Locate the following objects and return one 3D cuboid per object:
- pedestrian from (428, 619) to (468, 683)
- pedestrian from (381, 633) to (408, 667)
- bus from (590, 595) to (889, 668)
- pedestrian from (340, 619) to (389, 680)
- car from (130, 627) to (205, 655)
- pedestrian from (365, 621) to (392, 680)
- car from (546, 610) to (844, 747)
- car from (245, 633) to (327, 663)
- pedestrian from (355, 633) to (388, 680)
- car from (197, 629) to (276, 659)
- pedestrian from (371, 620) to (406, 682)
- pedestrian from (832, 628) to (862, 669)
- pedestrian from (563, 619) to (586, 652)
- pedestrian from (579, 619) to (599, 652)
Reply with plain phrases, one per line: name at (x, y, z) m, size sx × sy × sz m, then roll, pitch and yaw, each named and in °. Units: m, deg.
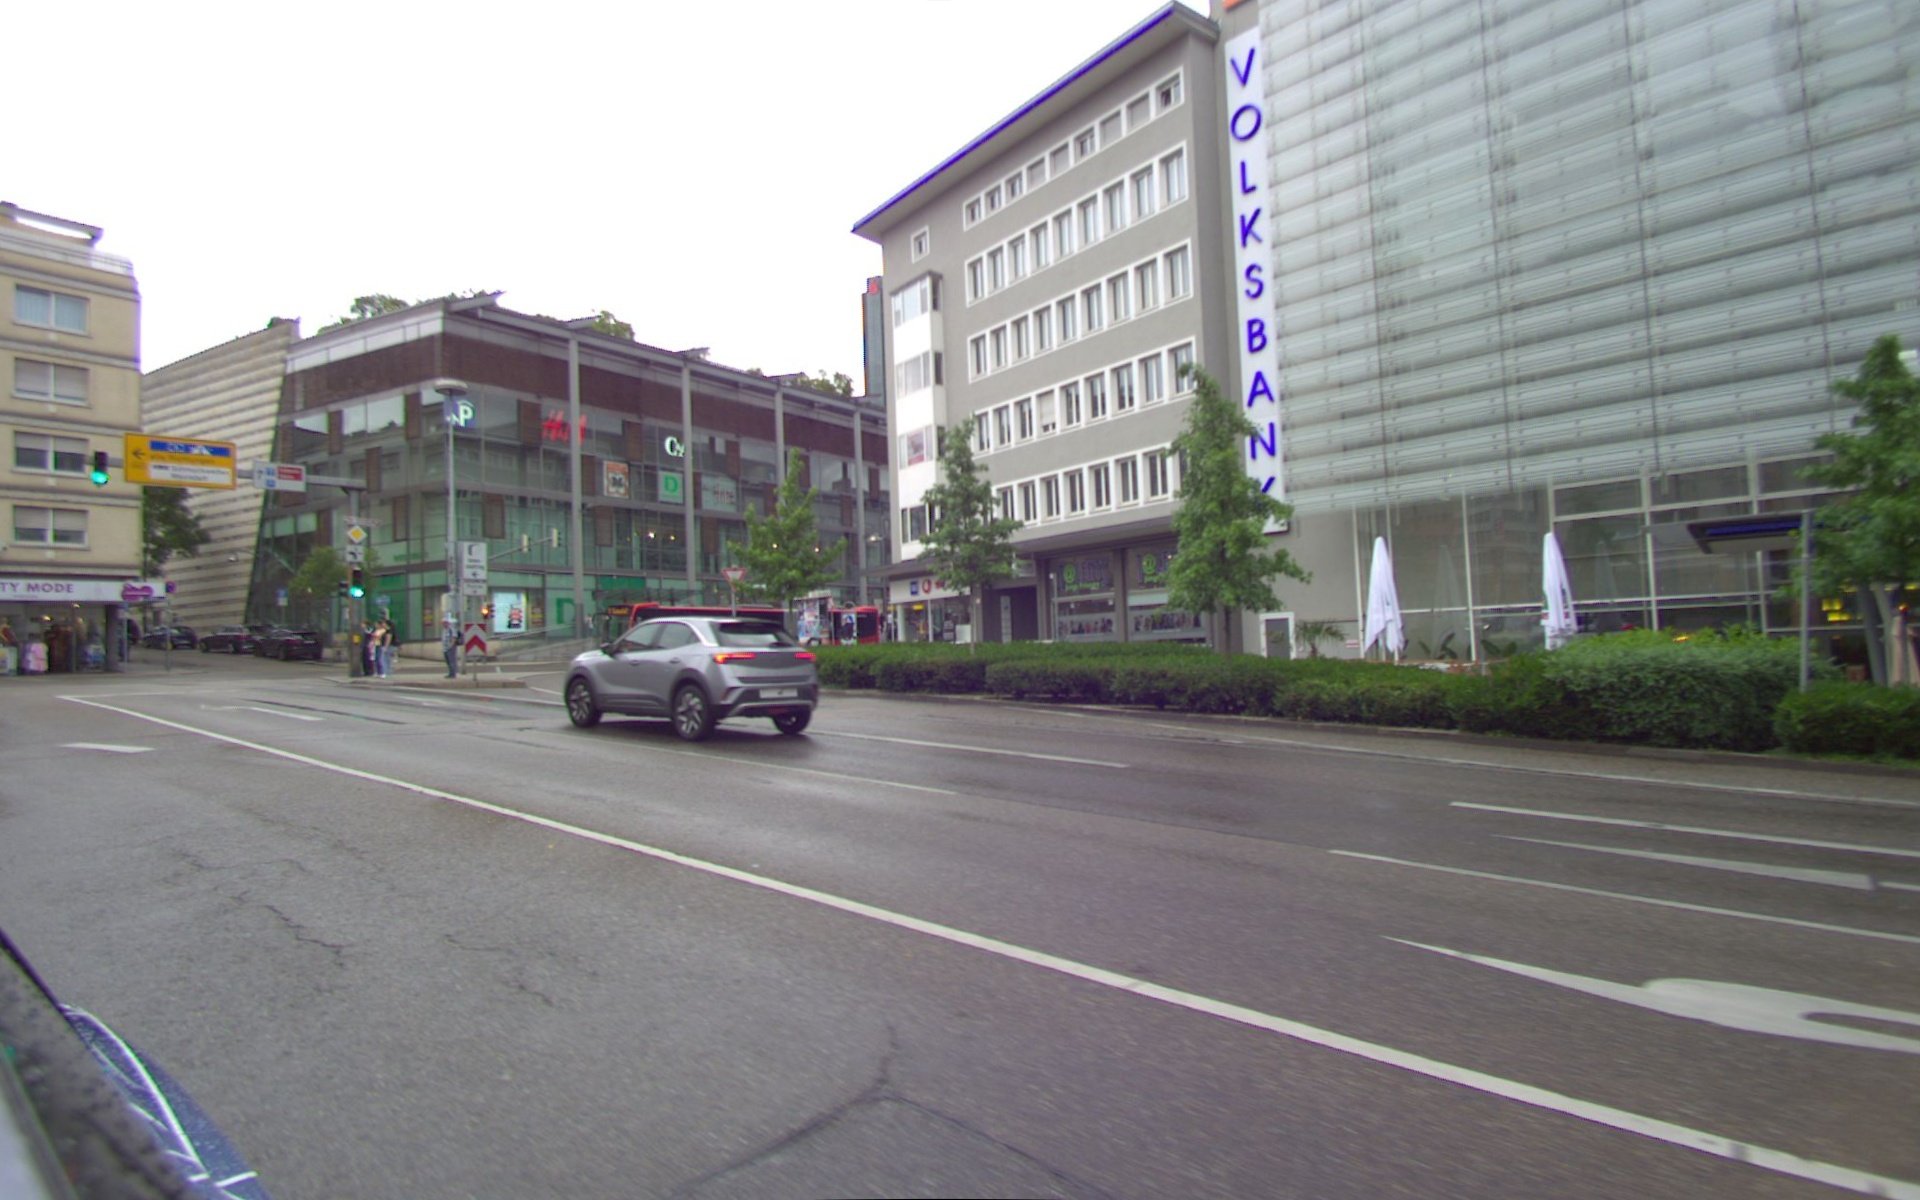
pedestrian at (-14.518, 1.446, 28.696) m, size 0.829 × 1.792 × 0.611 m, roll -1°, pitch -3°, yaw 31°
pedestrian at (-30.288, 2.692, 54.196) m, size 1.038 × 1.775 × 0.693 m, roll -2°, pitch -4°, yaw 10°
bus at (-10.935, 1.862, 54.608) m, size 2.925 × 3.346 × 18.243 m, roll -3°, pitch -4°, yaw 37°
pedestrian at (-17.869, 1.482, 30.380) m, size 1.009 × 1.801 × 0.844 m, roll -1°, pitch -3°, yaw 30°
car at (-47.659, 2.431, 60.875) m, size 4.358 × 1.558 × 1.882 m, roll -1°, pitch 0°, yaw 27°
pedestrian at (-16.577, 1.442, 28.863) m, size 0.571 × 1.681 × 0.494 m, roll -3°, pitch -4°, yaw 43°
car at (-3.636, 0.989, 13.563) m, size 4.091 × 1.564 × 1.822 m, roll -2°, pitch -4°, yaw 40°
car at (-36.472, 2.590, 54.723) m, size 4.274 × 1.558 × 1.789 m, roll -1°, pitch -2°, yaw 27°
pedestrian at (-16.995, 1.619, 29.238) m, size 0.629 × 1.350 × 0.582 m, roll -1°, pitch -3°, yaw 30°
car at (-41.209, 2.497, 57.634) m, size 4.358 × 1.558 × 1.882 m, roll -1°, pitch 0°, yaw 27°
pedestrian at (-16.058, 1.422, 28.444) m, size 0.629 × 1.702 × 0.784 m, roll 3°, pitch -3°, yaw -45°
pedestrian at (-4.931, 2.124, 44.215) m, size 1.021 × 1.789 × 0.791 m, roll -1°, pitch -3°, yaw 31°
pedestrian at (-23.358, 2.147, 61.389) m, size 0.882 × 1.996 × 0.963 m, roll -3°, pitch -4°, yaw 36°
pedestrian at (-22.784, 2.186, 62.147) m, size 0.876 × 1.996 × 0.839 m, roll -3°, pitch -4°, yaw 36°
